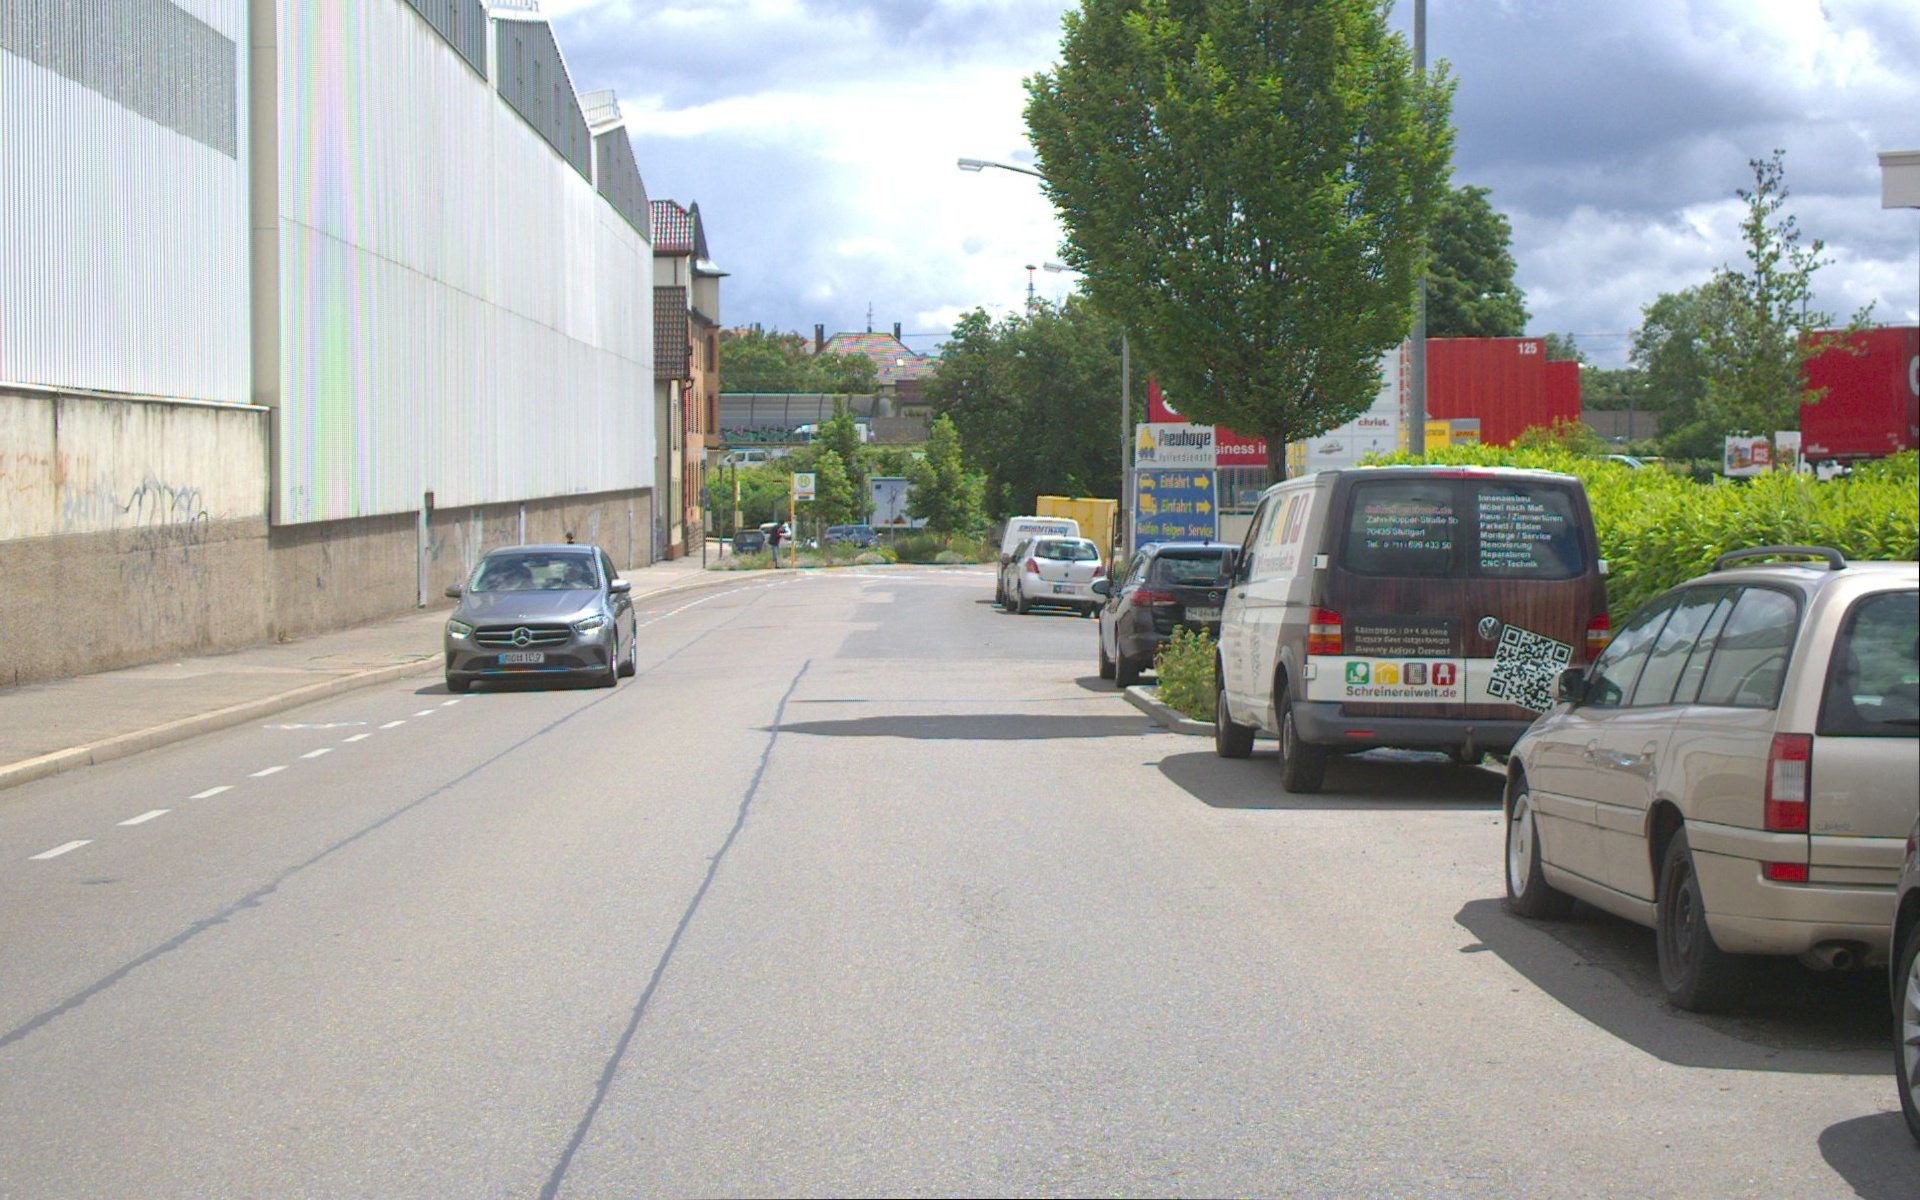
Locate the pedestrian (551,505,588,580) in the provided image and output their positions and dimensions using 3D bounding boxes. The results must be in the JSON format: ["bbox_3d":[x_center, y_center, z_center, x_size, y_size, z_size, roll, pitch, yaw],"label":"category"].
[{"bbox_3d":[-8.649,-1.265,76.229,0.713,1.632,0.777,0,-1,1],"label":"pedestrian"}]

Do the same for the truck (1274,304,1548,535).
[{"bbox_3d":[9.486,-3.705,73.295,2.573,4.434,7.865,0,0,-19],"label":"truck"}]

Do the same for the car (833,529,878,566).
[{"bbox_3d":[-4.407,-2.187,144.478,1.852,1.481,4.000,0,0,-2],"label":"car"}]

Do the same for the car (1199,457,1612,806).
[{"bbox_3d":[2.731,0.131,22.239,1.869,1.983,5.144,0,1,-2],"label":"car"}]

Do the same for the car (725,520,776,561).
[{"bbox_3d":[-8.108,-2.286,133.054,1.852,1.481,4.000,0,0,-2],"label":"car"}]

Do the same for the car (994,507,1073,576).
[{"bbox_3d":[1.621,-1.319,77.009,1.701,1.522,3.738,0,1,0],"label":"car"}]

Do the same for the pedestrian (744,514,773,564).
[{"bbox_3d":[-6.806,-2.047,116.070,0.853,1.657,0.860,0,-1,3],"label":"pedestrian"}]

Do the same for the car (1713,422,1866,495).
[{"bbox_3d":[32.600,-5.553,135.069,5.644,2.667,1.998,0,-1,20],"label":"car"}]

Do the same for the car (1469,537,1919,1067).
[{"bbox_3d":[3.073,0.544,12.387,1.655,1.535,4.735,0,1,-2],"label":"car"}]

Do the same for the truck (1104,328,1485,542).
[{"bbox_3d":[7.778,-3.758,80.118,8.458,4.655,2.580,0,-1,20],"label":"truck"}]

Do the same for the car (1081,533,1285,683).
[{"bbox_3d":[2.268,0.036,35.961,1.714,1.468,4.512,0,1,-2],"label":"car"}]

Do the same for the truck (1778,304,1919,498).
[{"bbox_3d":[22.517,-4.563,80.975,2.996,4.045,8.458,-1,-1,38],"label":"truck"}]

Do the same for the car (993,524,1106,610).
[{"bbox_3d":[1.697,-0.654,66.129,1.701,1.522,3.739,2,1,-5],"label":"car"}]

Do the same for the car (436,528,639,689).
[{"bbox_3d":[-4.524,0.081,37.341,1.719,1.550,4.288,-4,0,-2],"label":"car"}]

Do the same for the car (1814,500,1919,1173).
[{"bbox_3d":[3.171,0.607,7.317,1.679,1.632,4.123,1,1,0],"label":"car"}]
